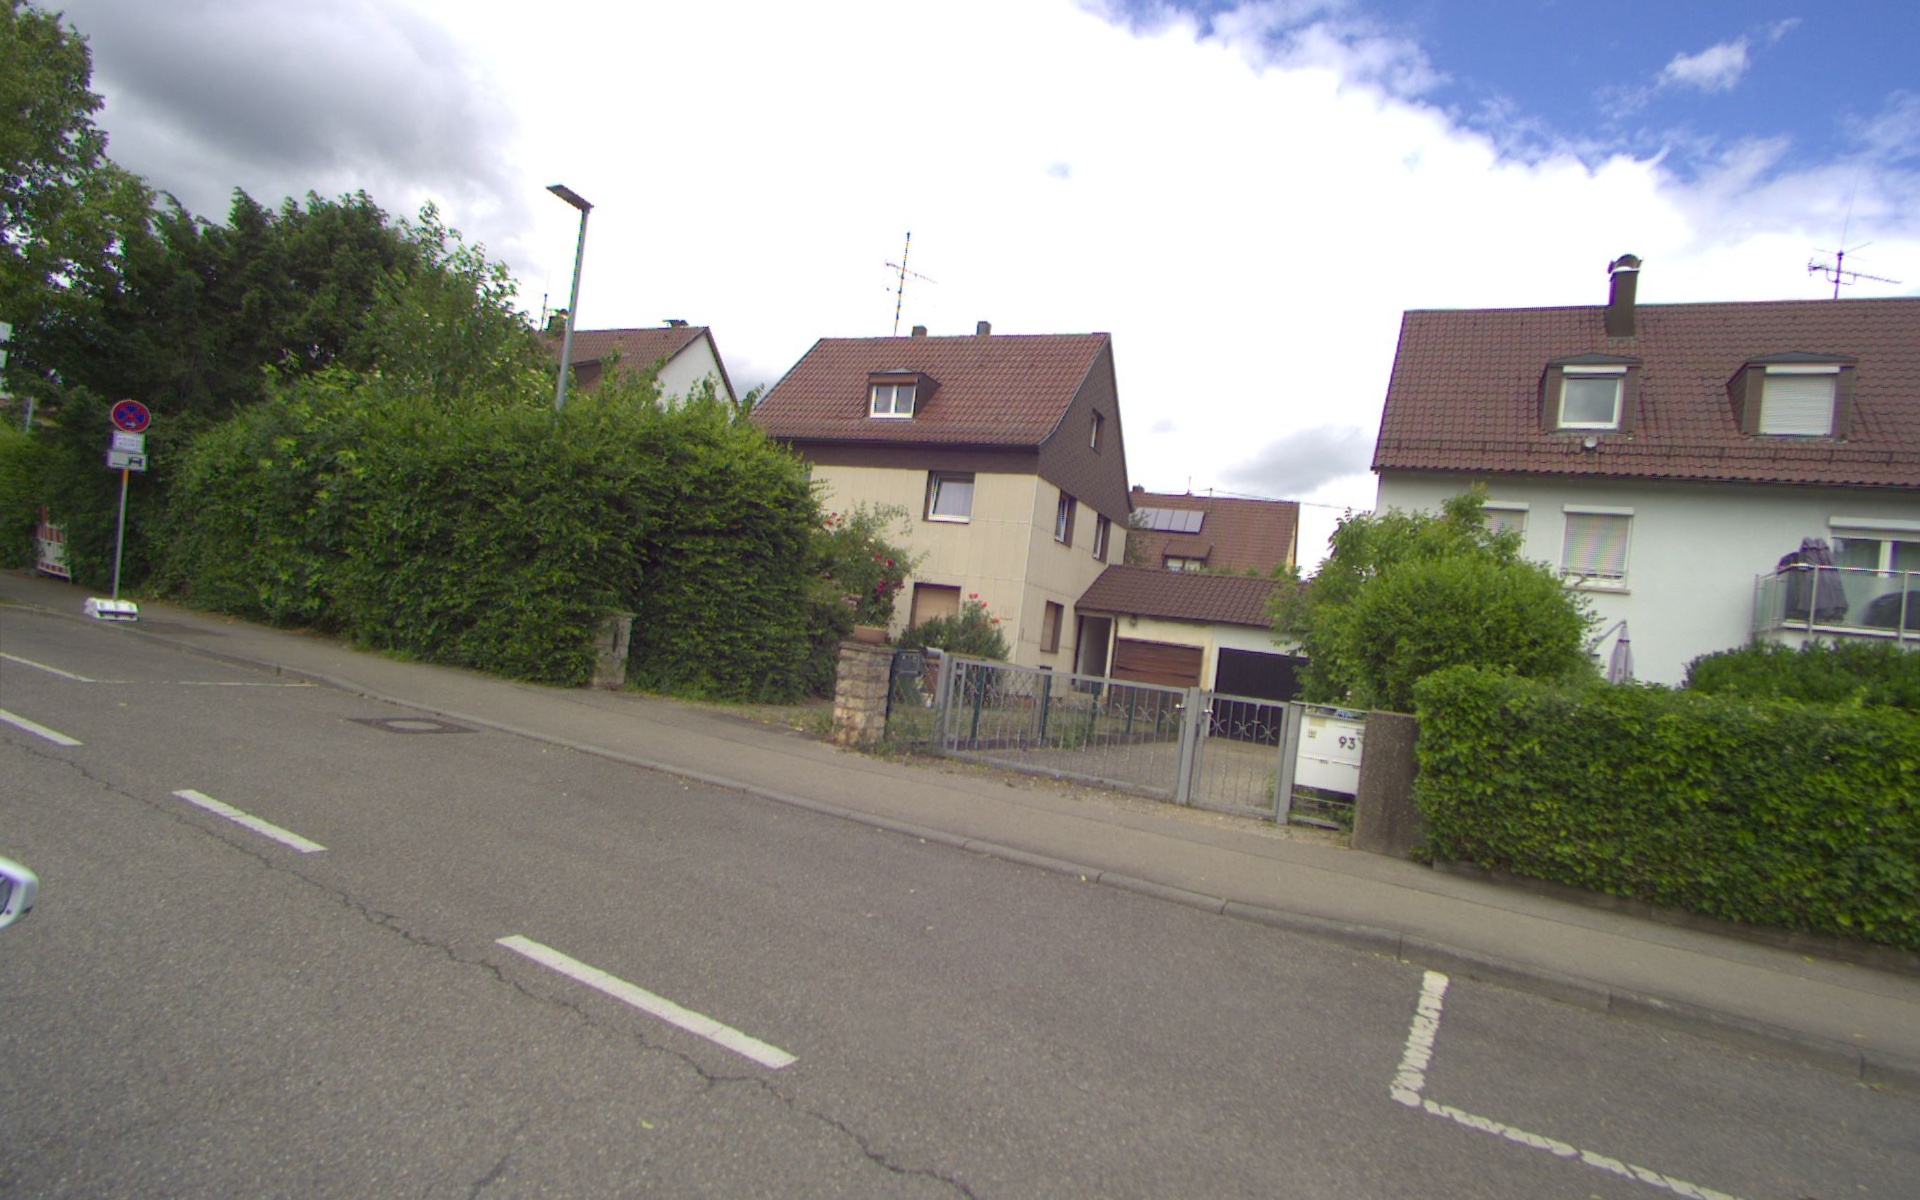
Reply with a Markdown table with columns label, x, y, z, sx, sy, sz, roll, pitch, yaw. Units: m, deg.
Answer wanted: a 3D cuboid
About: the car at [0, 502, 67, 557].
| label | x | y | z | sx | sy | sz | roll | pitch | yaw |
| --- | --- | --- | --- | --- | --- | --- | --- | --- | --- |
| car | -35.271 | -2.777 | 36.085 | 1.622 | 1.679 | 4.410 | 7 | -3 | 30 |
